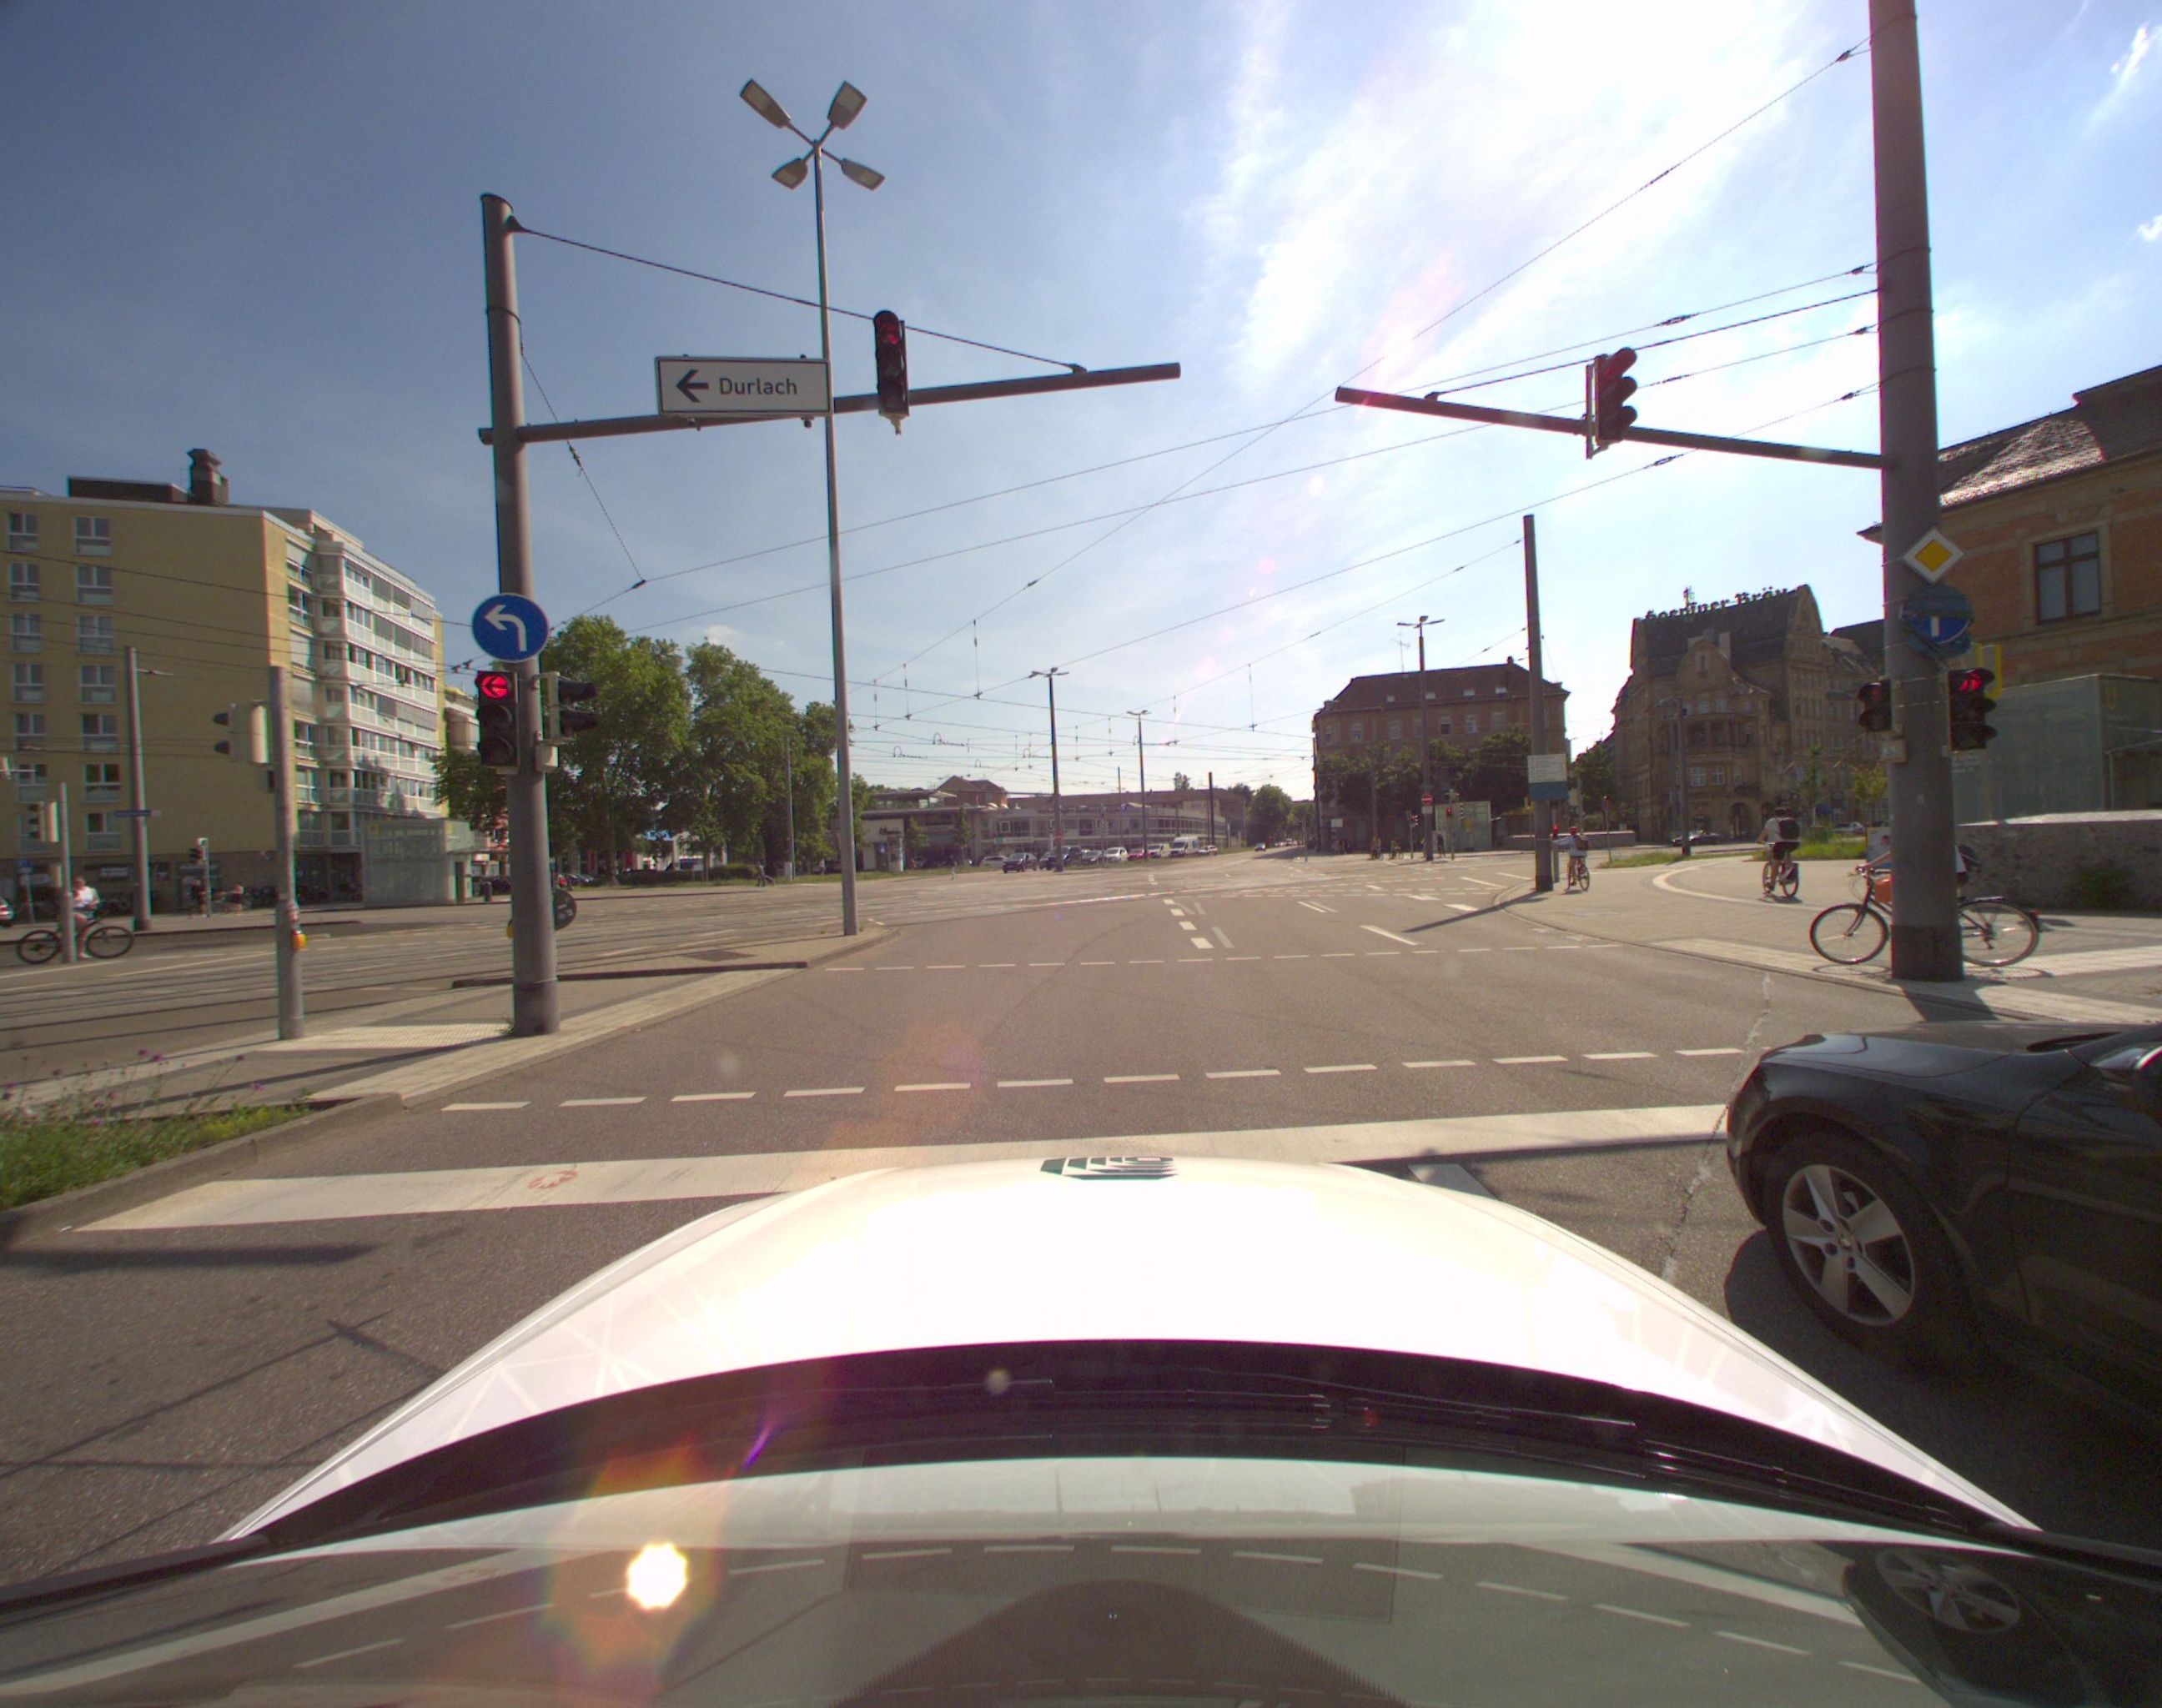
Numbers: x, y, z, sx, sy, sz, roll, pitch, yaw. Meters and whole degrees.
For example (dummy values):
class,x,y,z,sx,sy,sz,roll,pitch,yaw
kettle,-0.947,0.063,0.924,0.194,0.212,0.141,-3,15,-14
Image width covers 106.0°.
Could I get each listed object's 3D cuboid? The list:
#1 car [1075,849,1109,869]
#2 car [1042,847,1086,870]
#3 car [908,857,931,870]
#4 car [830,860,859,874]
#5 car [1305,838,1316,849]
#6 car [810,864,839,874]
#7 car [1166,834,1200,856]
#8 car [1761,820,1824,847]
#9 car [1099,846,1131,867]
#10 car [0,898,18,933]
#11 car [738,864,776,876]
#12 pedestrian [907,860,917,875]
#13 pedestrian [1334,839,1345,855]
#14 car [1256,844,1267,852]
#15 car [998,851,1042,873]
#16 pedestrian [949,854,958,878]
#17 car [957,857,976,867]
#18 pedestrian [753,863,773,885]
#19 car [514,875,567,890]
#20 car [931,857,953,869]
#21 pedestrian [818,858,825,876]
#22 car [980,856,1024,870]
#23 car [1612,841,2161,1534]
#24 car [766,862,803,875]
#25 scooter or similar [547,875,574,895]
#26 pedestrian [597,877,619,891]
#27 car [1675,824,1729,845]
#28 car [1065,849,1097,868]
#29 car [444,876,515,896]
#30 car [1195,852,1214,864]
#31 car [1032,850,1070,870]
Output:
class,x,y,z,sx,sy,sz,roll,pitch,yaw
car,0.989,0.456,71.292,1.880,1.588,4.017,-3,-1,16
car,-1.296,0.331,64.793,1.945,1.587,4.739,-2,0,19
car,-20.038,1.178,101.059,1.987,1.486,4.000,0,0,0
car,-29.637,1.621,102.124,1.983,1.684,4.008,0,-1,7
car,46.357,-2.138,164.596,2.092,2.013,4.017,-2,0,16
car,-31.998,1.856,101.783,1.983,1.244,4.008,0,0,7
car,12.512,-1.032,99.414,2.188,2.575,5.910,-1,-1,28
car,39.127,-1.120,44.762,3.464,1.313,1.655,-3,0,-32
car,3.272,0.278,78.537,1.879,1.917,4.220,-3,-1,19
car,-49.273,2.839,36.499,3.948,1.440,1.825,-5,-2,35
car,-40.982,2.025,102.946,3.973,1.371,2.000,0,0,1
pedestrian,-18.124,1.491,87.525,0.951,1.580,0.534,0,-1,-2
pedestrian,23.130,-0.630,72.824,0.616,1.433,0.705,0,-1,-36
car,32.149,-1.055,145.027,1.372,1.414,3.028,-1,-1,21
car,-4.765,0.652,64.262,1.876,1.588,4.230,-3,-1,19
pedestrian,-8.499,0.783,54.332,0.456,1.605,0.396,0,-1,-34
car,-14.105,0.956,100.501,1.824,1.195,4.000,0,0,1
pedestrian,-20.449,1.274,52.382,1.117,1.404,0.652,0,-1,-20
car,-49.711,2.603,74.981,3.729,1.340,1.735,0,-1,-15
car,-17.266,1.102,100.965,1.987,1.486,4.000,0,0,0
pedestrian,-23.780,1.183,74.758,0.388,1.596,0.467,-1,-1,25
car,-8.500,0.956,87.751,4.551,1.436,1.450,-1,-1,14
car,3.040,0.675,1.037,1.625,1.435,4.779,-1,-1,0
car,-38.586,1.864,105.935,3.974,1.552,2.000,-2,0,0
scooter or similar,-32.102,1.914,50.209,1.351,1.119,0.519,-2,0,11
pedestrian,-33.169,2.129,57.098,1.175,0.892,0.818,-2,0,-18
car,50.959,-1.593,66.846,4.001,1.584,1.627,-1,0,-20
car,0.029,0.444,78.154,1.638,1.739,4.220,-3,-1,19
car,-46.441,2.439,62.956,3.994,1.440,1.881,0,-1,-15
car,17.100,0.512,112.367,1.371,1.625,3.360,-1,-1,31
car,-2.580,0.521,71.026,1.879,1.588,4.019,-3,-1,19
